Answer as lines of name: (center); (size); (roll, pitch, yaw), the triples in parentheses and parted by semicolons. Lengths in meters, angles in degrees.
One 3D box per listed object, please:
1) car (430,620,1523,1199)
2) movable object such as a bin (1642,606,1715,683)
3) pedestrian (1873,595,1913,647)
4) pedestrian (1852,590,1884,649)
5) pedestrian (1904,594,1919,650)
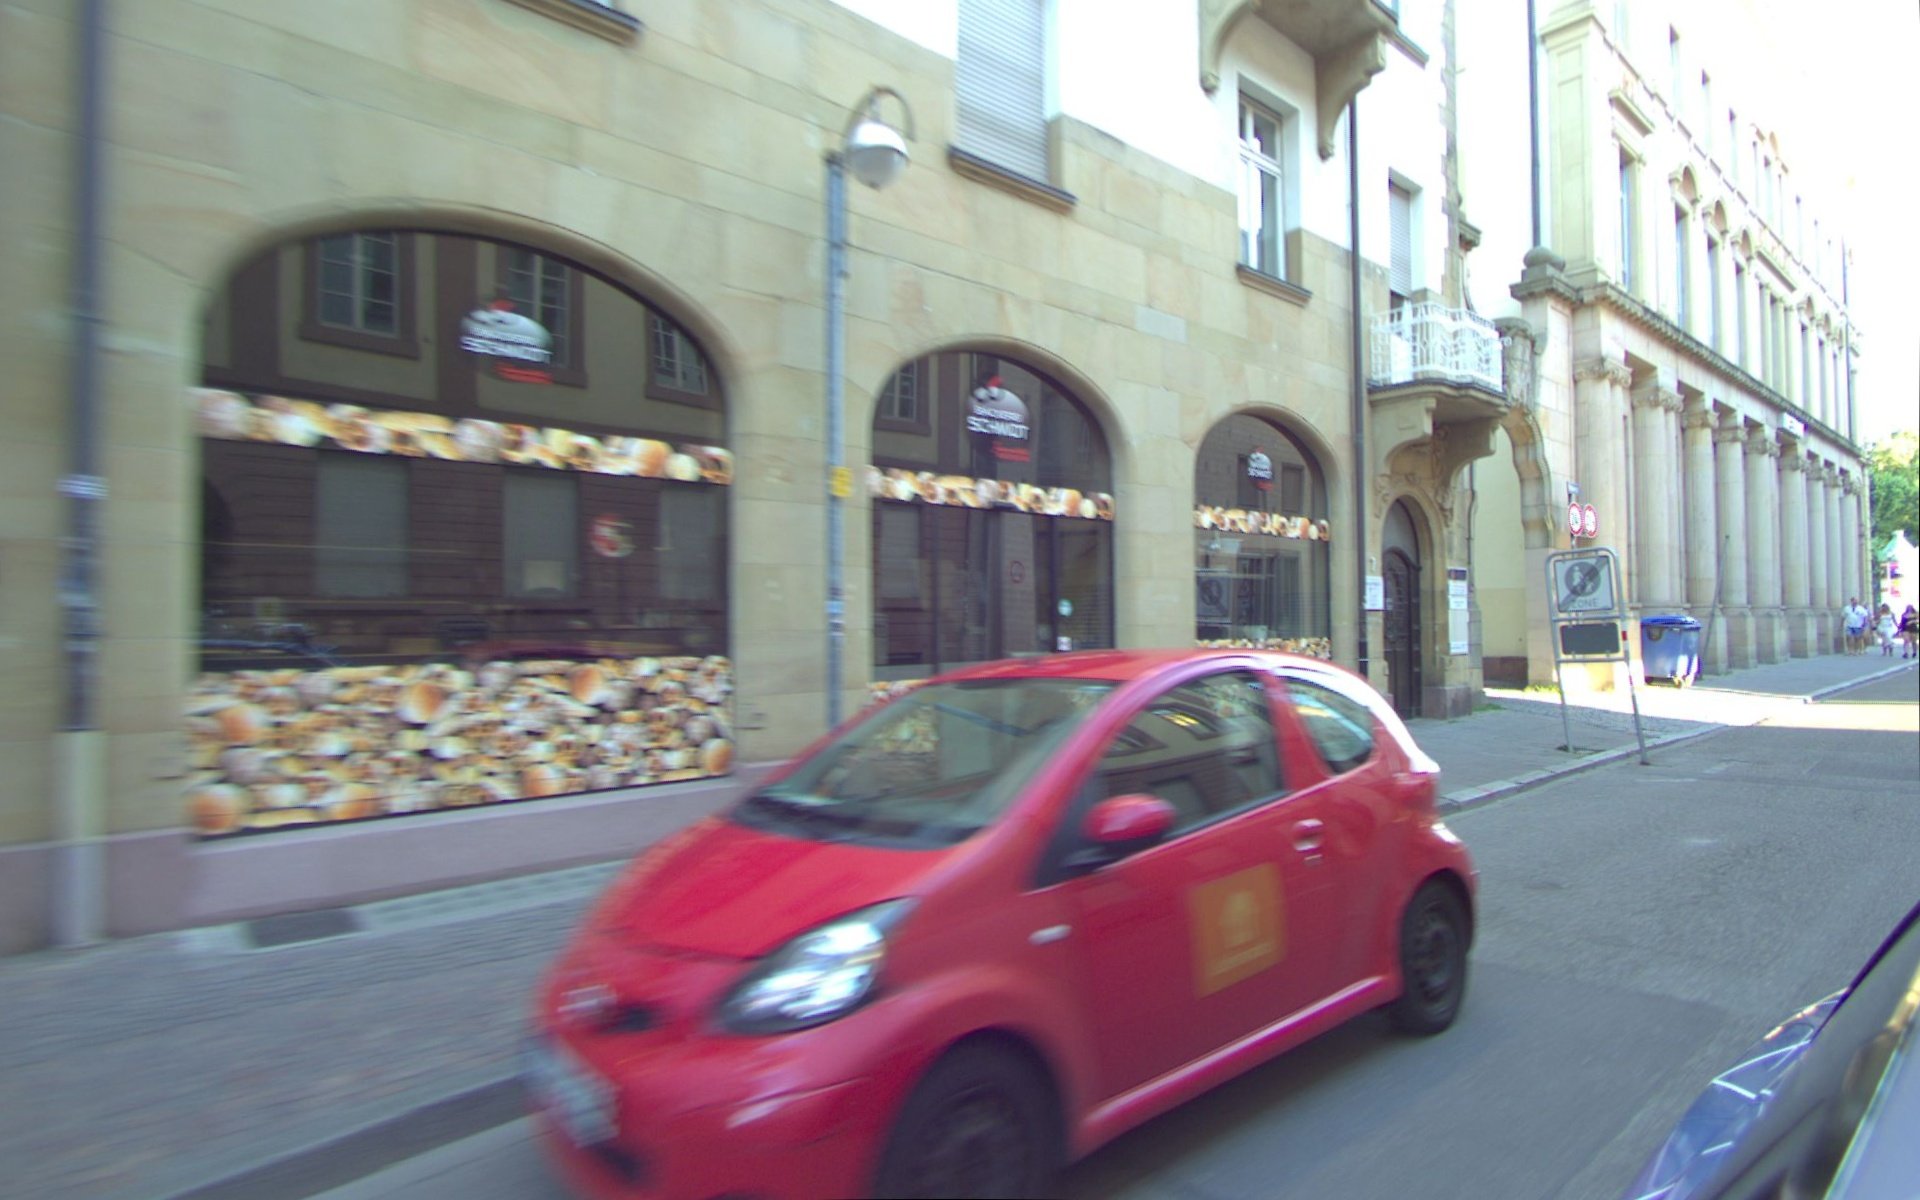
car: (0.306, 0.875, 3.503); (3.533, 1.444, 1.616); (0, -5, -40)
movable object such as a bin: (13.782, 0.831, 19.411); (1.118, 1.392, 0.898); (0, 1, -42)
pedestrian: (29.975, 0.667, 32.519); (0.908, 1.618, 0.855); (0, 1, -43)
pedestrian: (28.742, 0.605, 32.027); (0.745, 1.801, 0.648); (1, 1, -43)
pedestrian: (29.516, 0.677, 31.113); (0.745, 1.673, 0.648); (0, 1, -43)
